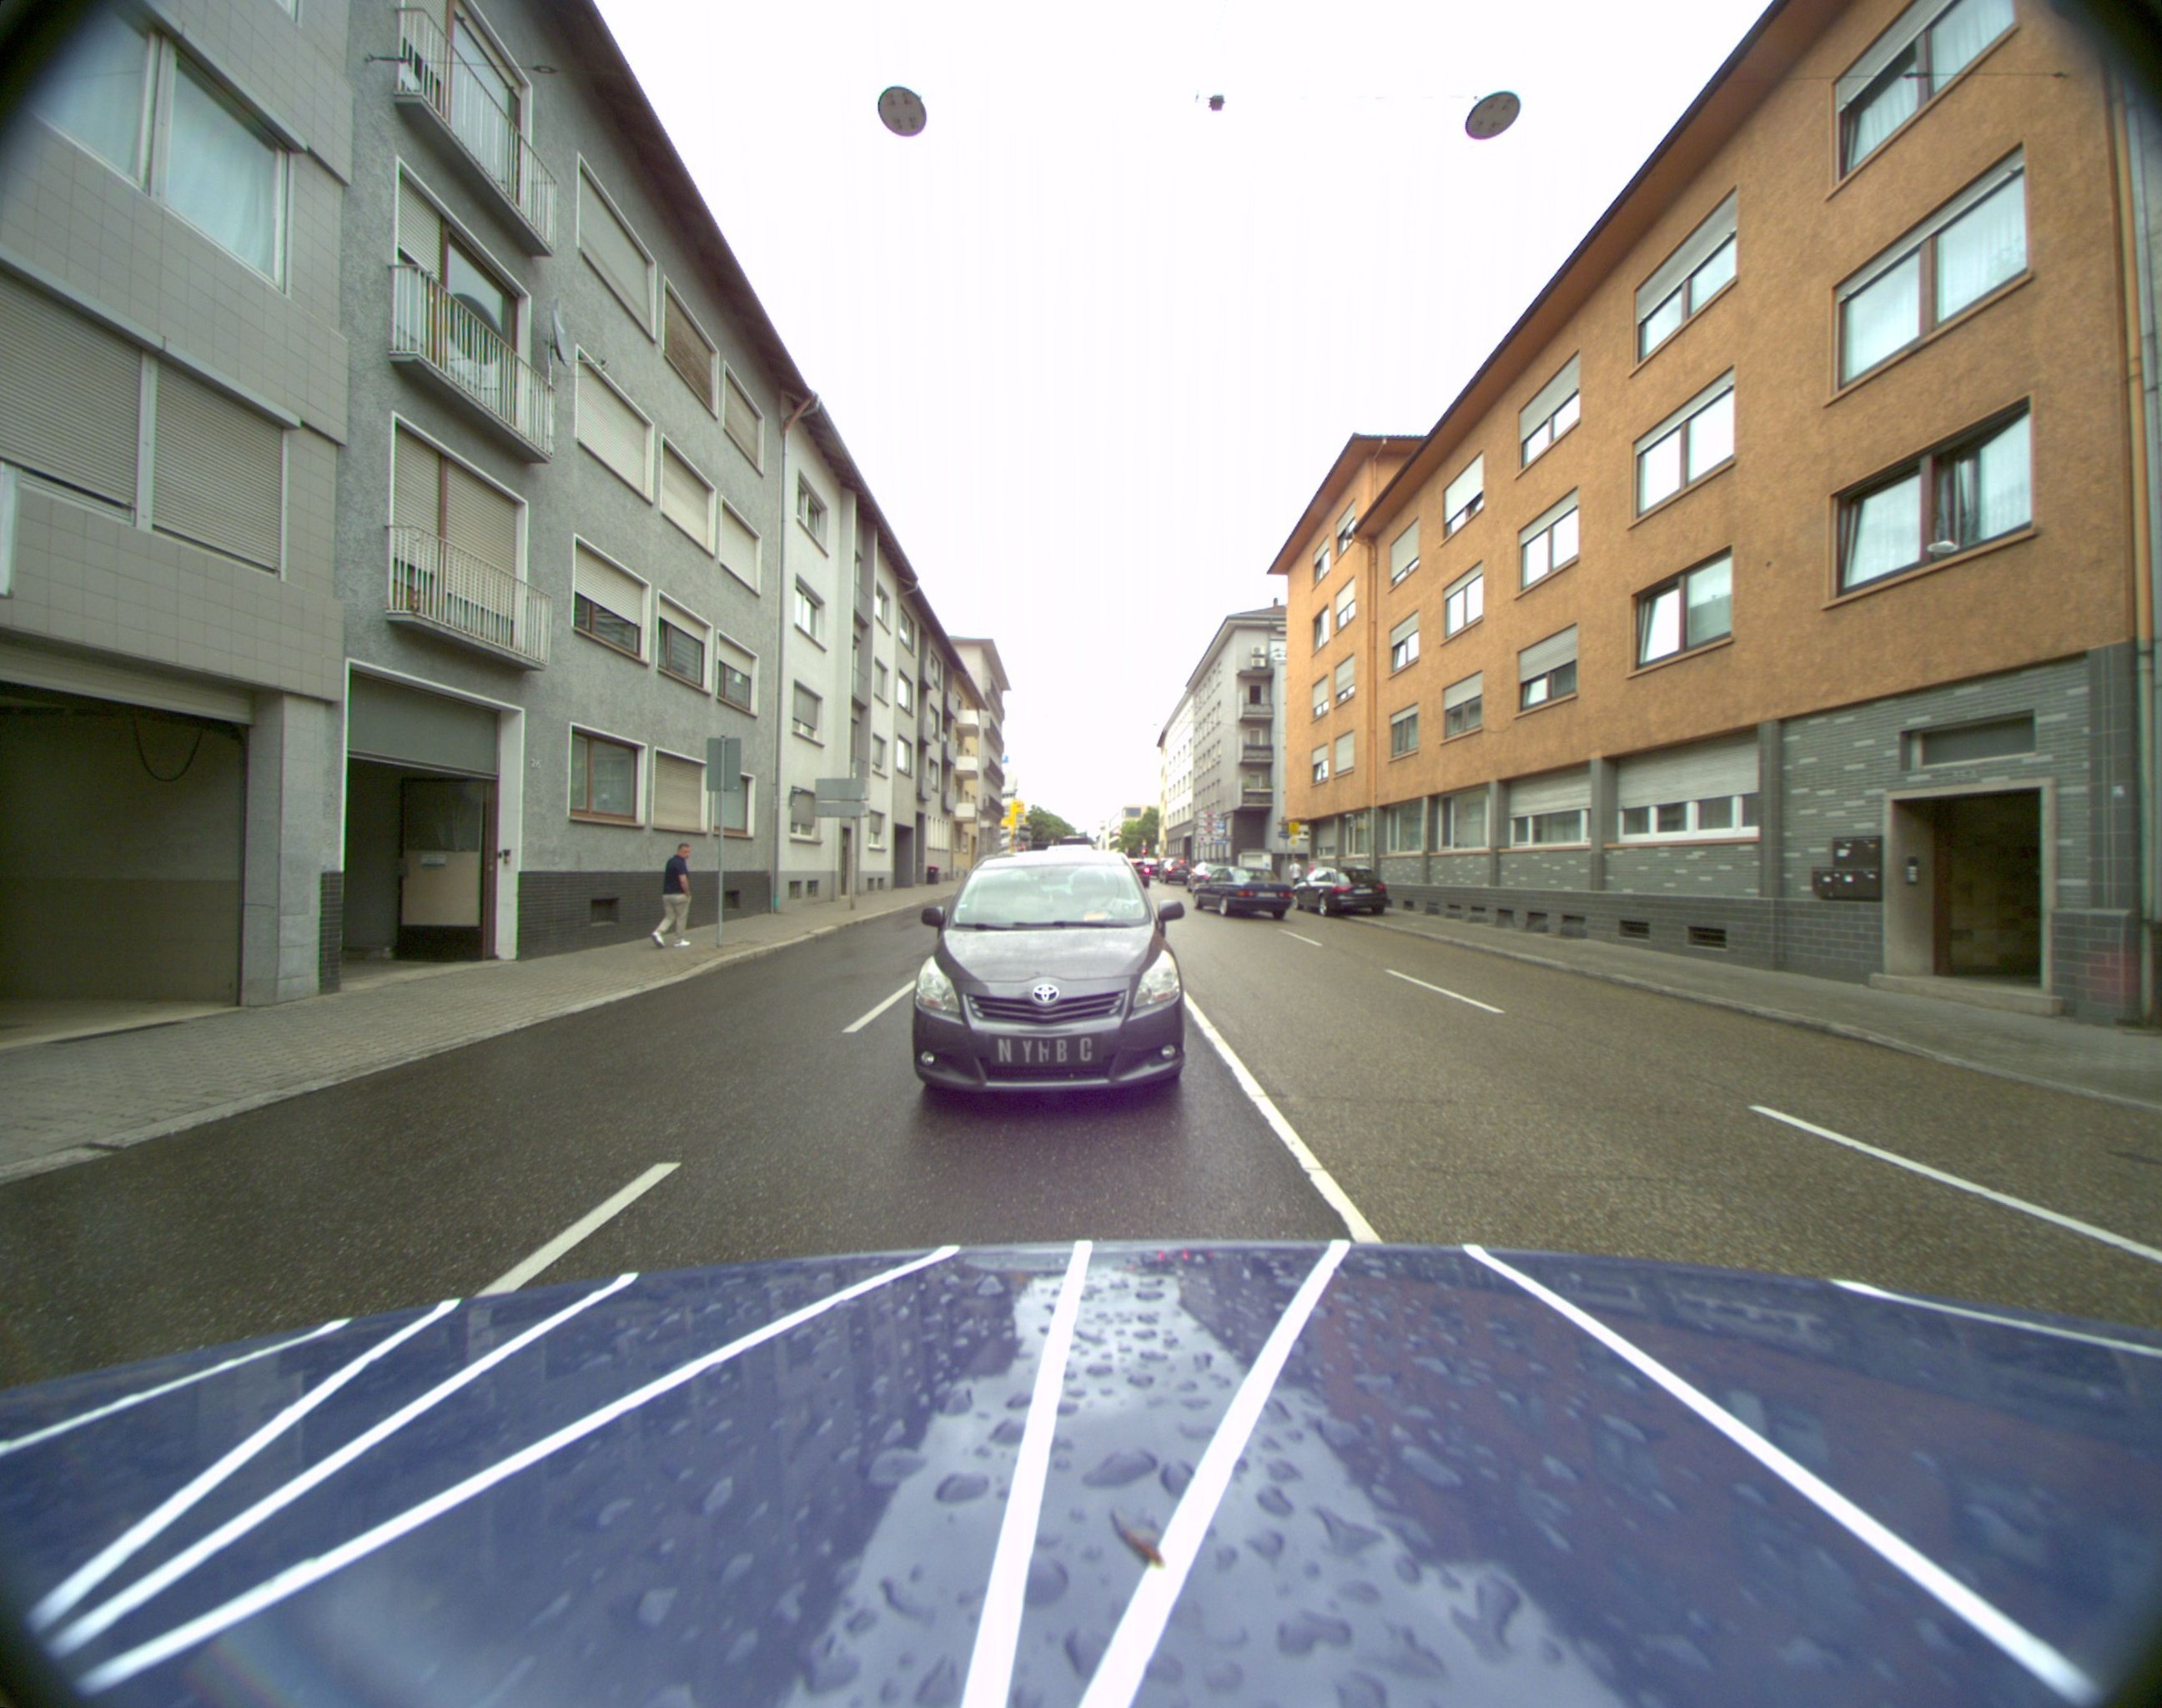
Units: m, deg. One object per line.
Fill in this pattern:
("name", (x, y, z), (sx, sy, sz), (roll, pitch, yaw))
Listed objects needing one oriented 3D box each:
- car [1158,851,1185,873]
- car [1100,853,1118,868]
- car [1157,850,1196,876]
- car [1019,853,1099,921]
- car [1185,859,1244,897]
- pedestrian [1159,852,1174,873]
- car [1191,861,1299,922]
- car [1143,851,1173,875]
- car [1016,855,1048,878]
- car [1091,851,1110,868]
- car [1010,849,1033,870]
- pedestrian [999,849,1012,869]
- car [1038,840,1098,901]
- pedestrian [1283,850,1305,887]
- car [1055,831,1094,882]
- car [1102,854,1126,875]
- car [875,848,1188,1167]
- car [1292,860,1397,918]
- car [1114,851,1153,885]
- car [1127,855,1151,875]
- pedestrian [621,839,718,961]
("car", (7.795, 0.685, 65.895), (1.856, 1.712, 4.217), (-2, 1, 1))
("car", (3.106, 0.748, 85.158), (1.749, 1.531, 4.052), (2, 1, -1))
("car", (5.857, 0.547, 46.960), (1.727, 1.464, 4.373), (2, 0, -1))
("car", (-0.507, 0.786, 20.237), (1.856, 1.524, 3.792), (-2, 1, 1))
("car", (5.768, 1.009, 33.297), (1.699, 1.362, 4.365), (3, 1, -1))
("pedestrian", (8.502, 0.881, 75.897), (1.309, 2.002, 1.258), (-2, 1, 1))
("car", (4.463, 0.974, 21.379), (1.603, 1.362, 4.359), (3, 1, -7))
("car", (5.817, 0.651, 58.045), (1.699, 1.531, 4.435), (4, 1, 0))
("car", (-3.359, 0.856, 53.057), (1.856, 1.369, 4.217), (-2, 1, 1))
("car", (1.882, 0.567, 75.190), (1.622, 1.531, 4.216), (2, 1, -1))
("car", (-5.152, 0.489, 66.023), (1.856, 1.663, 4.215), (-2, 1, -4))
("pedestrian", (-6.881, 0.453, 69.140), (1.119, 1.741, 0.961), (1, 1, -5))
("car", (-0.400, 0.502, 26.741), (1.856, 1.882, 4.217), (-2, 1, 1))
("pedestrian", (9.737, 0.669, 34.730), (0.768, 1.630, 1.023), (-2, 1, 5))
("car", (-0.343, 0.089, 43.782), (2.033, 2.731, 4.368), (-2, 1, 1))
("car", (2.453, 0.756, 57.610), (1.699, 1.362, 4.217), (2, 1, 1))
("car", (-0.248, 0.854, 6.394), (1.699, 1.712, 4.217), (-2, 1, 1))
("car", (8.041, 1.020, 23.606), (1.799, 1.466, 4.217), (-2, 1, 1))
("car", (2.739, 0.713, 40.507), (1.699, 1.572, 4.216), (2, 1, -1))
("car", (5.431, 1.034, 71.801), (1.856, 1.651, 4.610), (-2, 1, 1))
("pedestrian", (-6.727, 0.720, 12.483), (0.871, 1.855, 1.119), (4, 1, 1))
